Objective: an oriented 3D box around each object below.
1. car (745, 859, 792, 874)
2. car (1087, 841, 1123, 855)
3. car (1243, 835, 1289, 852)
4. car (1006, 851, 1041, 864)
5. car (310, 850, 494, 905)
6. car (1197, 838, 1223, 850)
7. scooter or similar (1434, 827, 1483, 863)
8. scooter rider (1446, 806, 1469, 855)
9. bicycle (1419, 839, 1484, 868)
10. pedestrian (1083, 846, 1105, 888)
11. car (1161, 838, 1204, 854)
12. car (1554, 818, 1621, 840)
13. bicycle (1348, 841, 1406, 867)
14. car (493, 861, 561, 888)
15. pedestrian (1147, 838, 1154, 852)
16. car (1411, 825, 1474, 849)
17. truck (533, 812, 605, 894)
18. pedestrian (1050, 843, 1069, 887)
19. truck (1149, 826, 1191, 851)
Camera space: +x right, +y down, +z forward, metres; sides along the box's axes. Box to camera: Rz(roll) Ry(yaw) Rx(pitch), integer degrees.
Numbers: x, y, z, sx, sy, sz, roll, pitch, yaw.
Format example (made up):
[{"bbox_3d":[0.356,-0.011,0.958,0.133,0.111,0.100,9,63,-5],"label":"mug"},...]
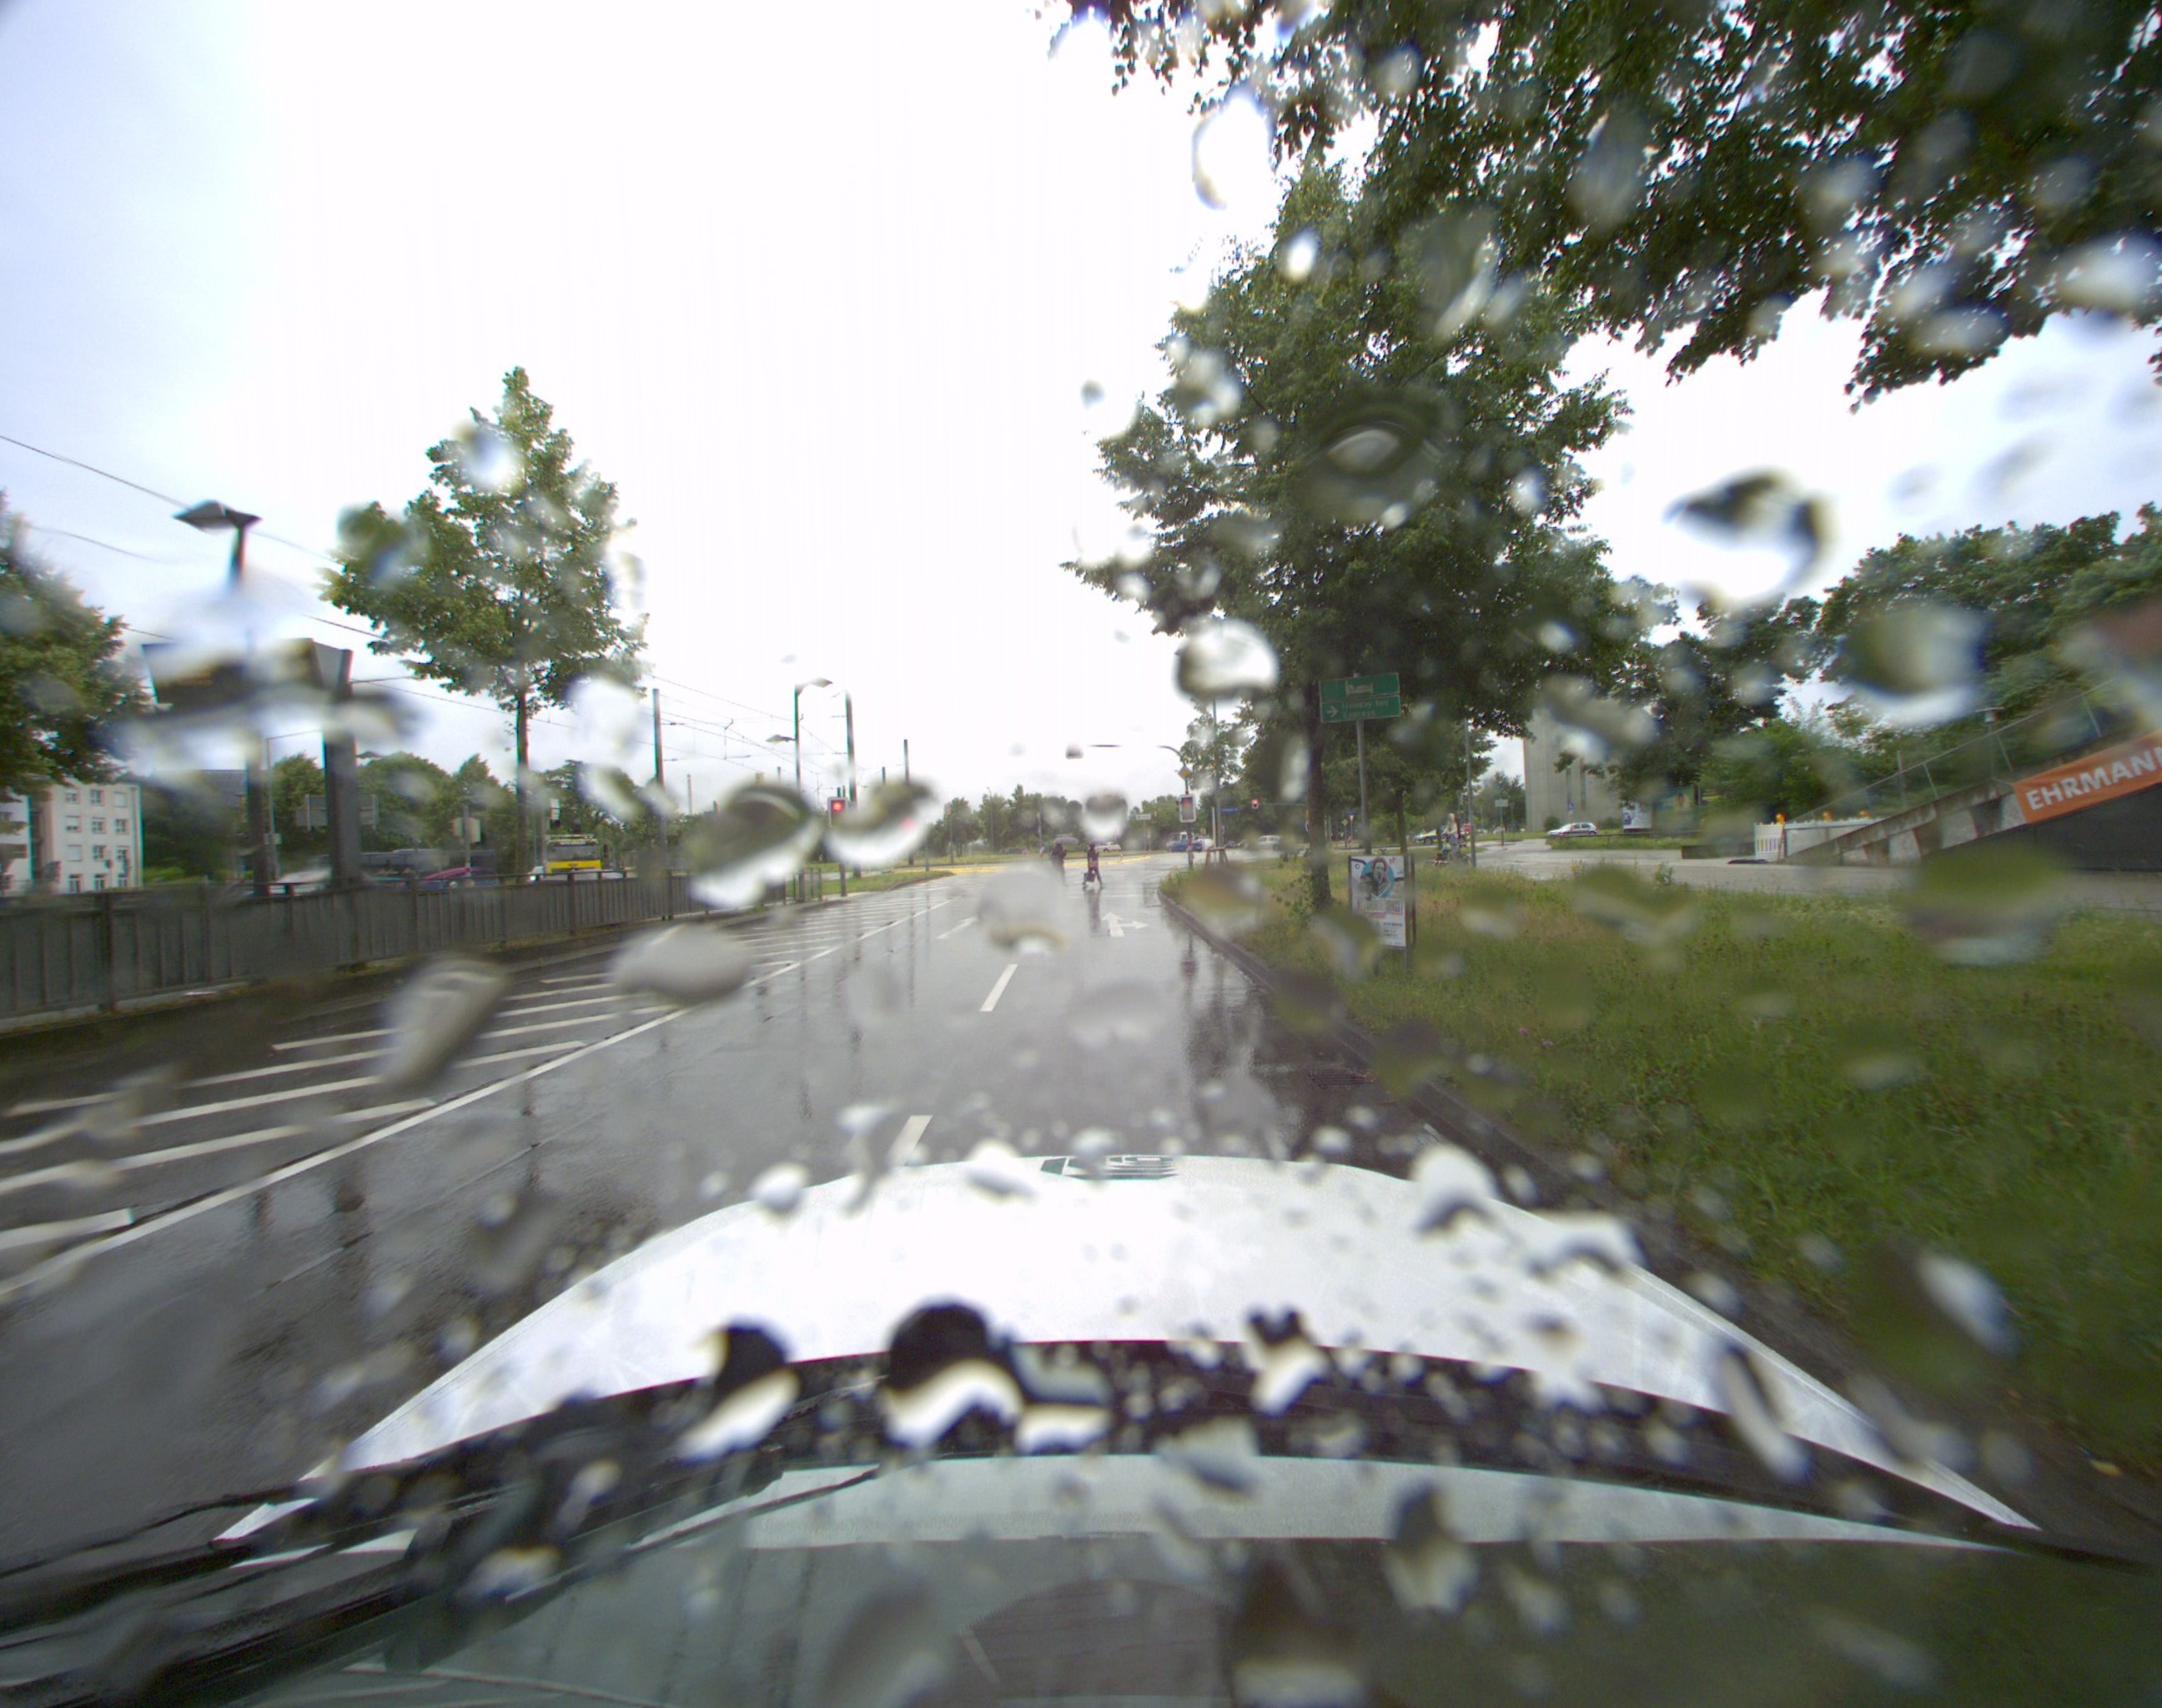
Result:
[{"bbox_3d":[-35.187,1.400,91.647,4.648,1.454,1.604,-3,1,-42],"label":"car"},{"bbox_3d":[2.692,-0.668,92.852,4.061,1.454,1.633,-2,1,43],"label":"car"},{"bbox_3d":[17.374,-0.979,76.521,3.937,1.454,1.633,-2,1,27],"label":"car"},{"bbox_3d":[-7.118,0.420,100.450,3.944,1.454,1.630,-2,1,15],"label":"car"},{"bbox_3d":[-54.724,1.785,66.129,2.425,3.720,11.034,-4,0,35],"label":"car"},{"bbox_3d":[18.886,-1.470,119.388,1.779,1.662,4.159,0,0,42],"label":"car"},{"bbox_3d":[13.551,-0.319,29.256,1.582,1.259,0.447,0,0,-5],"label":"scooter or similar"},{"bbox_3d":[13.530,-0.846,29.278,0.530,1.709,0.433,-3,0,-5],"label":"scooter rider"},{"bbox_3d":[10.245,-0.008,22.595,0.453,0.787,1.998,0,0,-15],"label":"bicycle"},{"bbox_3d":[0.478,0.461,29.259,0.678,1.460,0.573,-3,0,-3],"label":"pedestrian"},{"bbox_3d":[10.166,-0.826,81.342,3.936,1.454,1.634,-2,1,38],"label":"car"},{"bbox_3d":[45.040,-2.246,72.495,4.734,1.851,2.004,0,0,7],"label":"car"},{"bbox_3d":[9.192,0.006,25.364,0.382,0.787,1.840,0,0,-32],"label":"bicycle"},{"bbox_3d":[-36.889,1.348,54.242,4.347,1.627,2.013,-2,1,30],"label":"car"},{"bbox_3d":[6.431,-0.807,75.404,0.448,1.304,0.489,-2,1,40],"label":"pedestrian"},{"bbox_3d":[32.106,-1.514,72.444,4.736,1.851,2.003,-2,1,5],"label":"car"},{"bbox_3d":[-26.427,-0.031,41.824,2.707,3.778,9.084,0,0,-35],"label":"truck"},{"bbox_3d":[-0.725,0.368,28.239,0.619,1.522,0.741,-1,0,0],"label":"pedestrian"},{"bbox_3d":[10.444,-1.723,95.135,2.439,2.686,8.105,0,0,24],"label":"truck"}]
